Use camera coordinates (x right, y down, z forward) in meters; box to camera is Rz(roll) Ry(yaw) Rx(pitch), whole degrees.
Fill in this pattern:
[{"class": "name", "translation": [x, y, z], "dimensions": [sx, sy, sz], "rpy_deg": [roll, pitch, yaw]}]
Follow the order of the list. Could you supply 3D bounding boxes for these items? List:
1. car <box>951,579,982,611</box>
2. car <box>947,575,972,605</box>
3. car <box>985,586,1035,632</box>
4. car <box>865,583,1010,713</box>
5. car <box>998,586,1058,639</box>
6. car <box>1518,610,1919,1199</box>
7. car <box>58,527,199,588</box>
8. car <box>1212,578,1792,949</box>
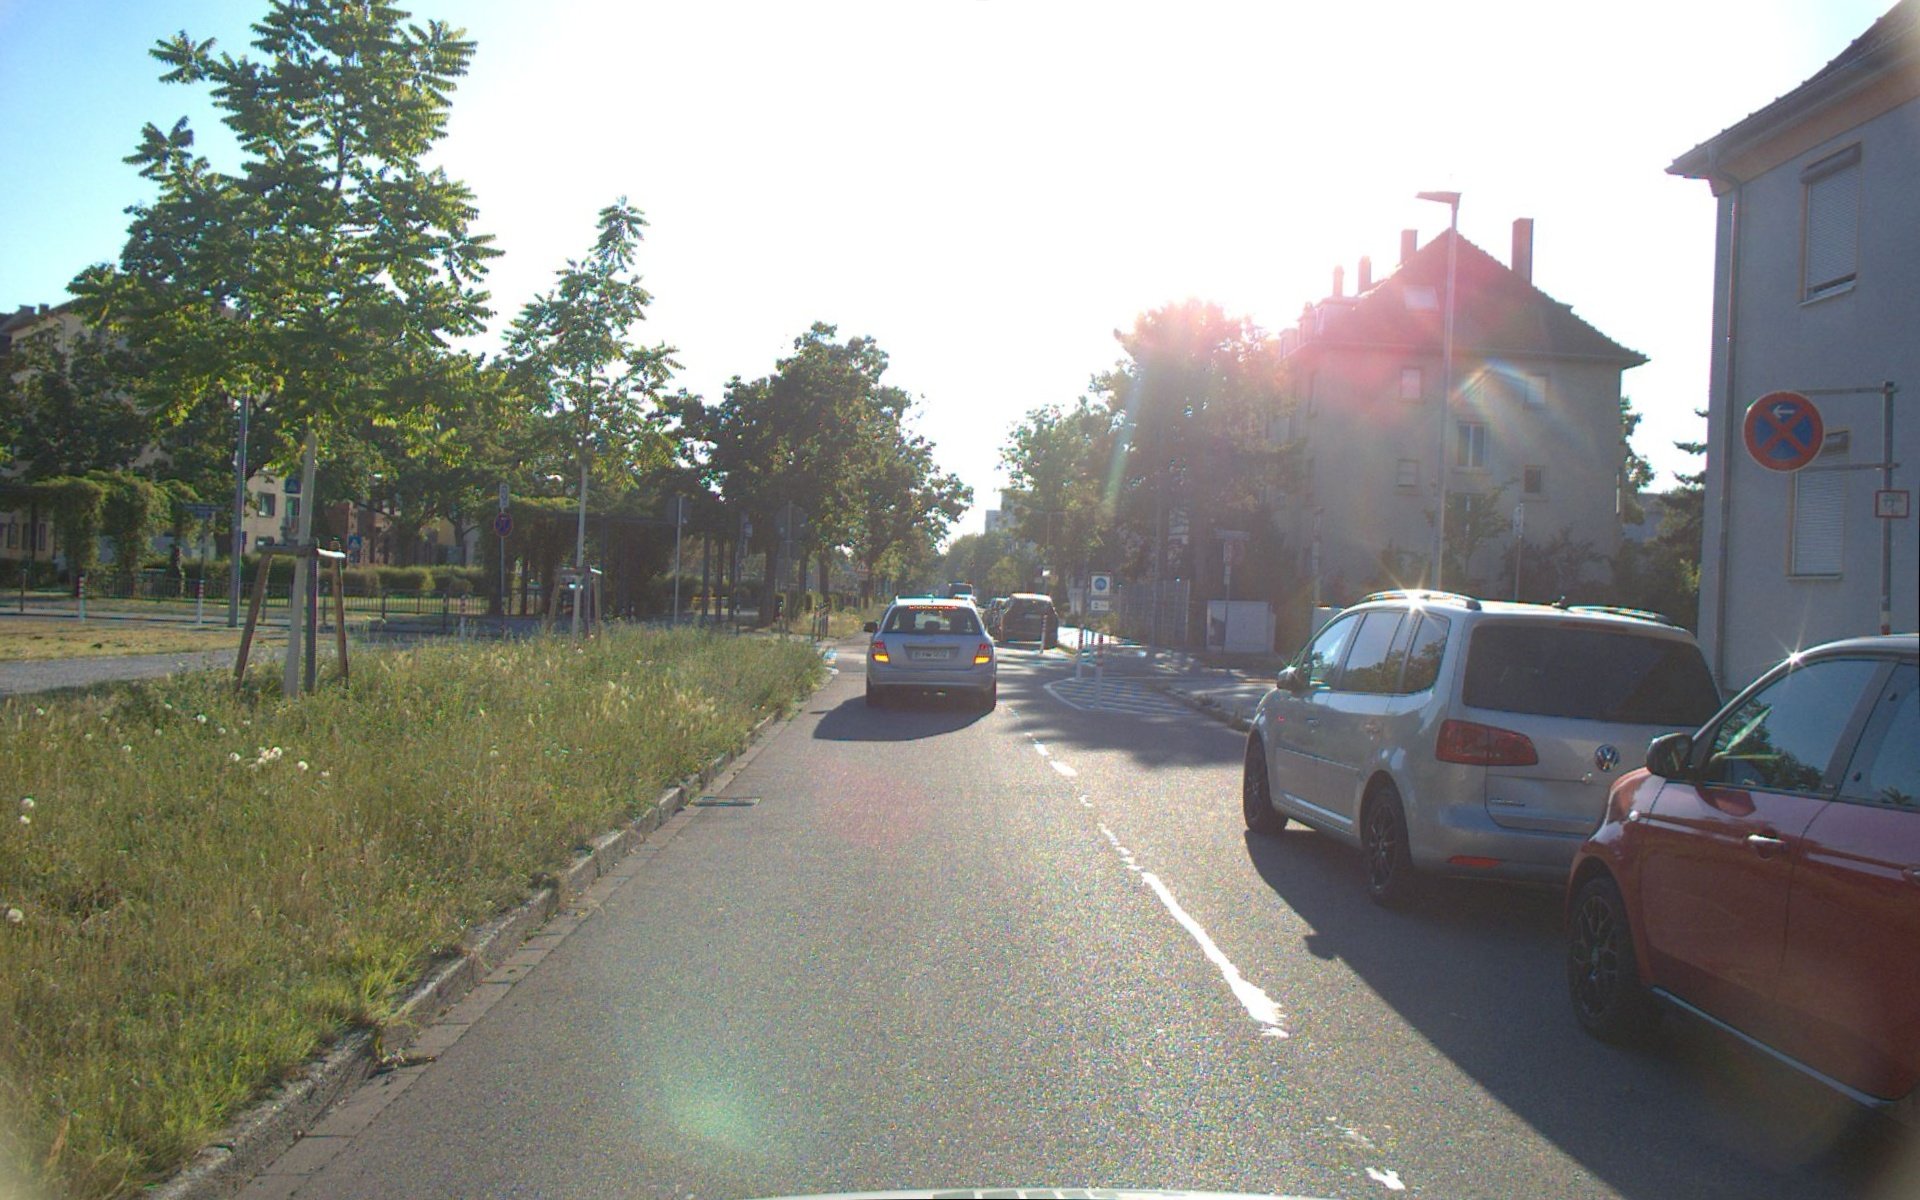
[{"class": "car", "translation": [0.429, -0.331, 112.258], "dimensions": [1.948, 2.058, 3.999], "rpy_deg": [2, 0, -1]}, {"class": "car", "translation": [-0.066, -0.749, 130.305], "dimensions": [1.823, 2.231, 5.069], "rpy_deg": [2, 0, -1]}, {"class": "car", "translation": [1.873, 0.327, 63.068], "dimensions": [1.686, 1.624, 3.999], "rpy_deg": [2, 0, -1]}, {"class": "car", "translation": [-0.303, 0.581, 22.771], "dimensions": [1.786, 1.594, 4.000], "rpy_deg": [1, 1, -1]}, {"class": "car", "translation": [2.190, 0.409, 53.976], "dimensions": [1.686, 1.625, 3.999], "rpy_deg": [2, -1, -1]}, {"class": "car", "translation": [3.192, 0.849, 4.942], "dimensions": [1.694, 1.553, 3.733], "rpy_deg": [1, 0, -2]}, {"class": "car", "translation": [-42.305, -2.132, 84.196], "dimensions": [6.232, 2.767, 1.981], "rpy_deg": [2, 0, -32]}, {"class": "car", "translation": [2.956, 0.774, 10.193], "dimensions": [1.683, 1.667, 4.560], "rpy_deg": [4, 0, -5]}]
